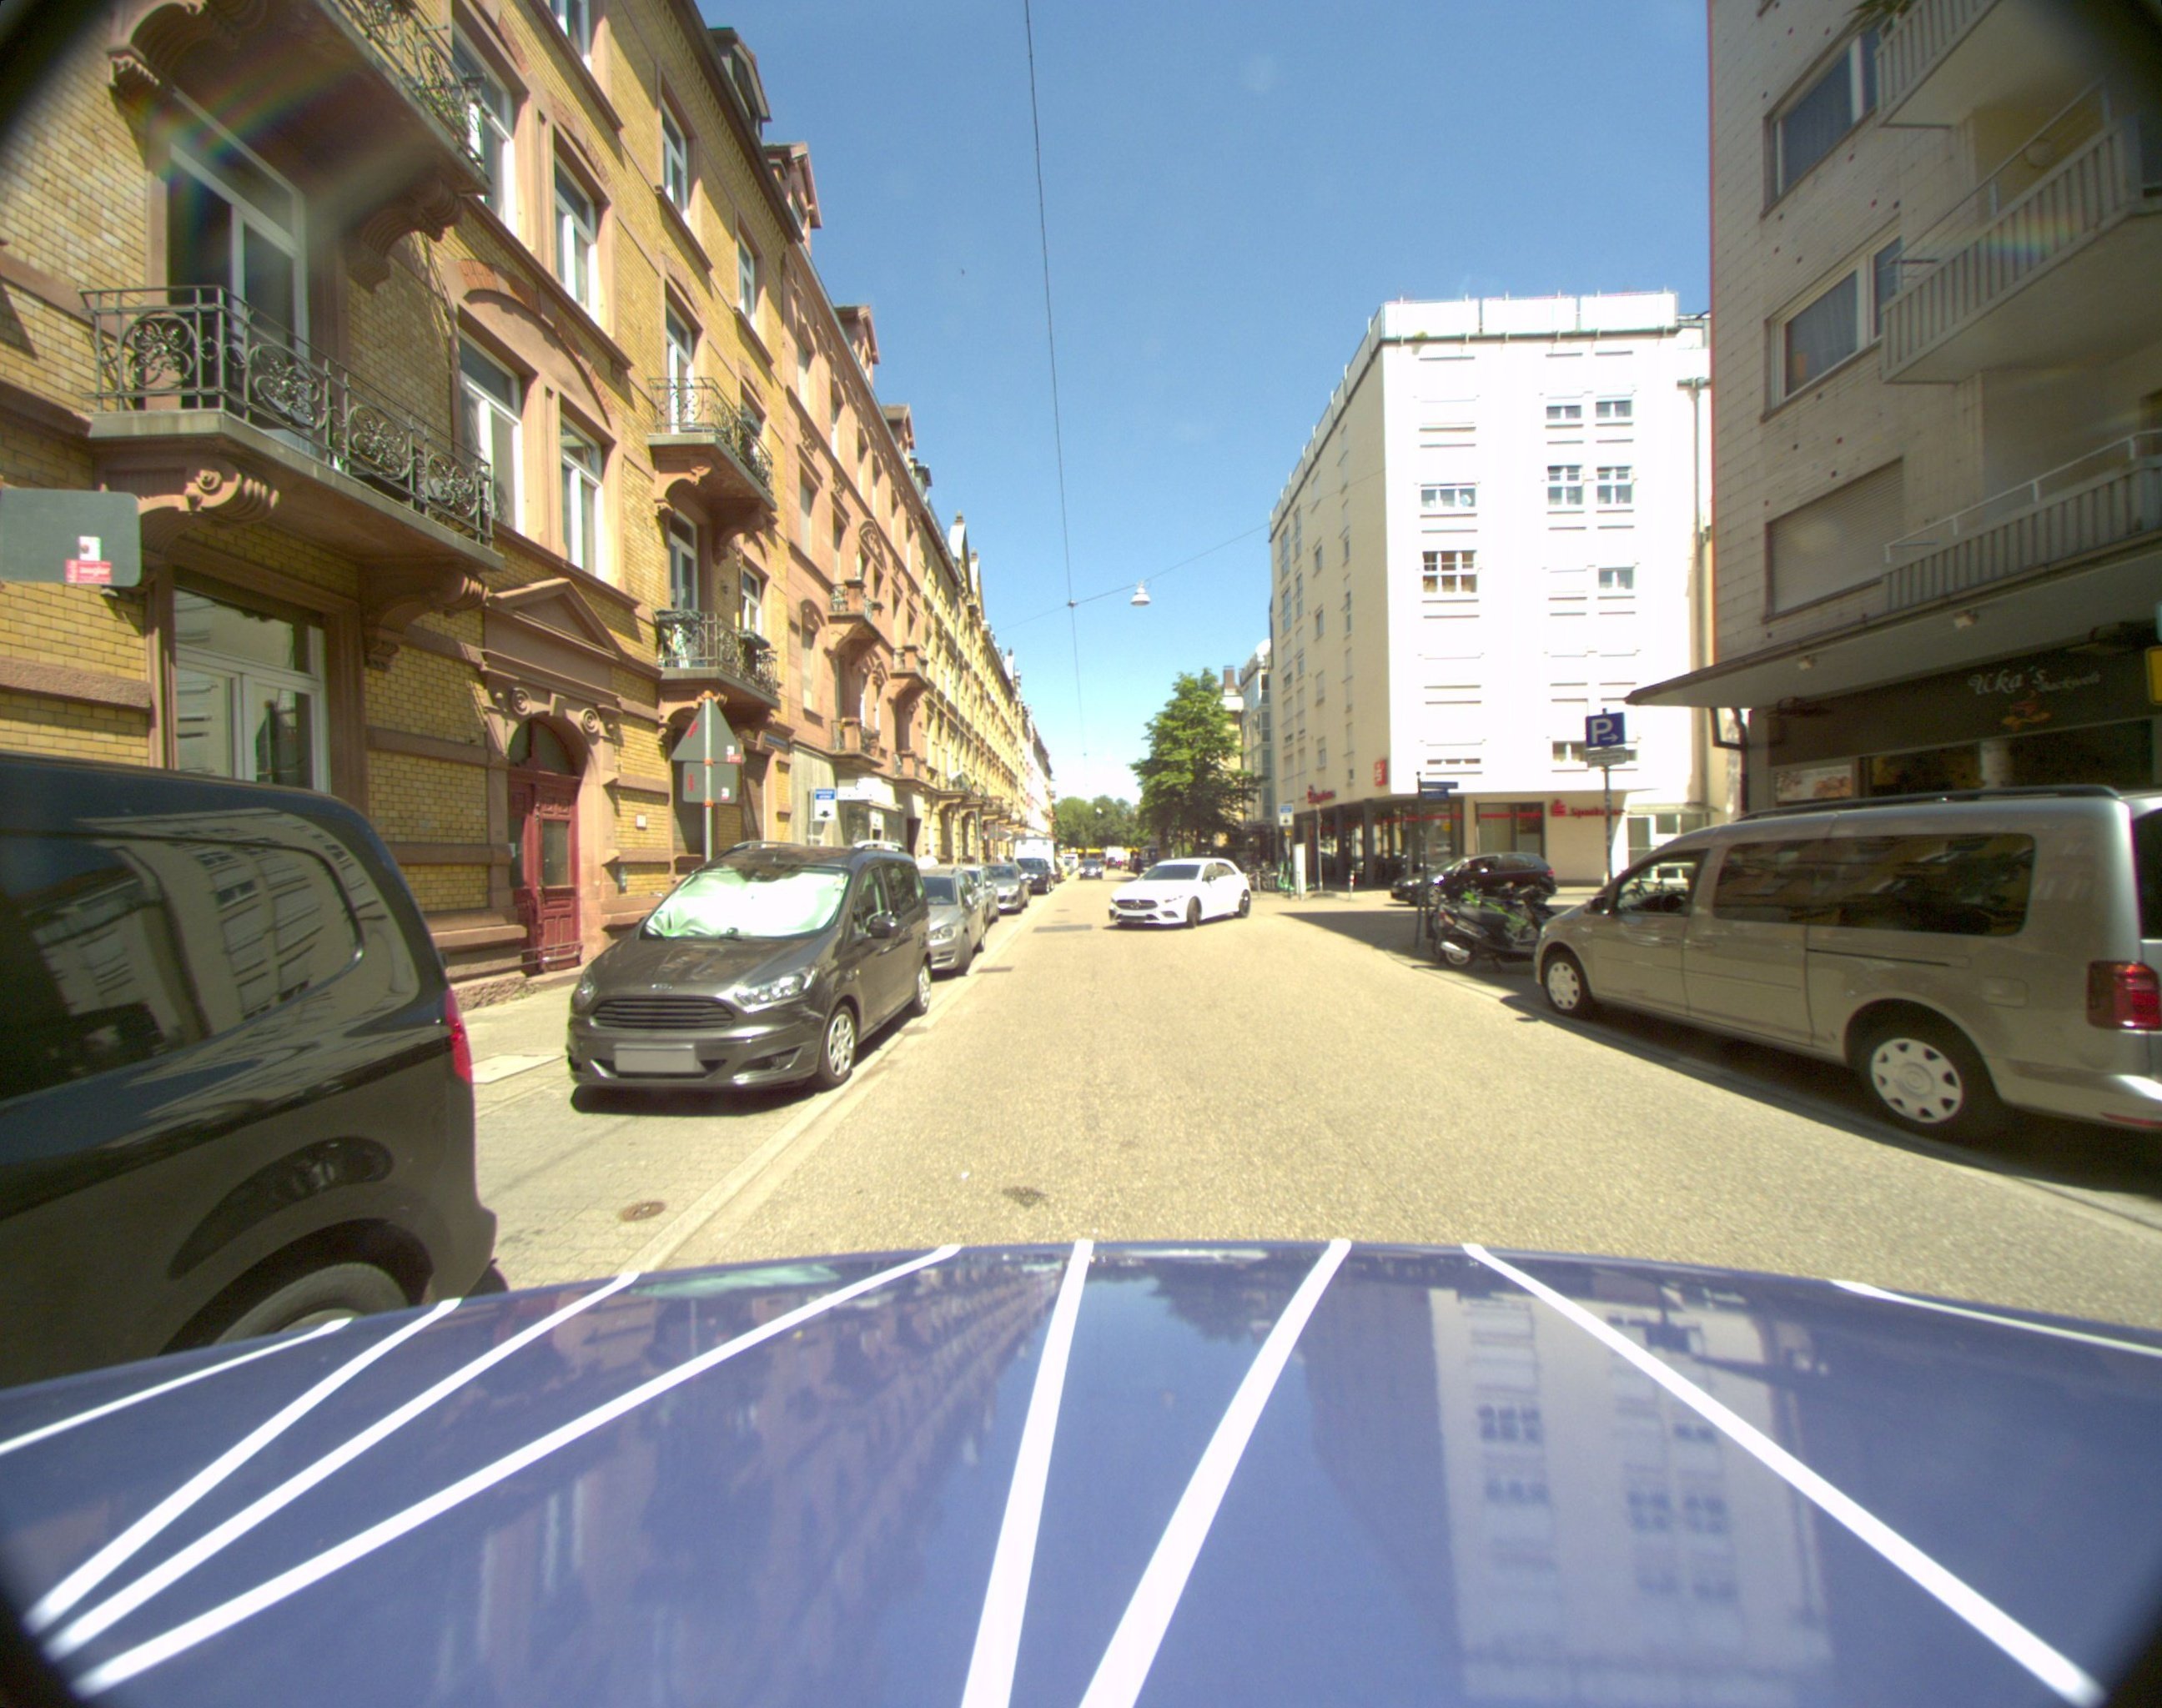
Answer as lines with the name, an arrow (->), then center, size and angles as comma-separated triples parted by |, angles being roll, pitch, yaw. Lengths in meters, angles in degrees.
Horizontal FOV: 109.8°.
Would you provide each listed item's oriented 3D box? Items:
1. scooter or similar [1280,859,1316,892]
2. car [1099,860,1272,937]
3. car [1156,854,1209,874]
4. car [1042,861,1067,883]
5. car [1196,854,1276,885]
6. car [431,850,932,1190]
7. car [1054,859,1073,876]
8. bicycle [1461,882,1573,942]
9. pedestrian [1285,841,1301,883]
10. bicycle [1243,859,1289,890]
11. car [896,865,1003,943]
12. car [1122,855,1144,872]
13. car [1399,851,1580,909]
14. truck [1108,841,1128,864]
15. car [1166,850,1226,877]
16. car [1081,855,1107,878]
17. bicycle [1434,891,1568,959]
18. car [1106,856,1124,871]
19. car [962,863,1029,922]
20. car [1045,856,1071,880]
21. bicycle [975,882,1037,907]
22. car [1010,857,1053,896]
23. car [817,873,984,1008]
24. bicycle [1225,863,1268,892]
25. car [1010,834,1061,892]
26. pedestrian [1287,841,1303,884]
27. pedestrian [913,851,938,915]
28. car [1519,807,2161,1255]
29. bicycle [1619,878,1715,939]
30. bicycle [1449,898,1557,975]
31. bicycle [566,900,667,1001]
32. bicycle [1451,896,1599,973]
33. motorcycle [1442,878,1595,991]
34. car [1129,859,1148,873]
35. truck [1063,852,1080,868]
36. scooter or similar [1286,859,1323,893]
scooter or similar -> 7.801, 0.781, 27.327 | 1.192, 1.160, 0.289 | -1, 0, -1
car -> 2.453, 0.887, 16.938 | 1.810, 1.417, 4.250 | -1, 0, 40
car -> 7.766, 0.754, 58.447 | 3.885, 1.487, 1.652 | -1, 0, 0
car -> -1.702, 1.156, 49.119 | 1.533, 1.293, 3.686 | -2, 0, -2
car -> 8.147, 0.807, 40.094 | 3.885, 1.520, 1.652 | -1, 0, 0
car -> -2.479, 0.865, 5.968 | 1.706, 1.723, 4.000 | -2, 0, 1
car -> -1.702, 1.261, 72.068 | 1.682, 1.528, 3.999 | -2, 0, -2
bicycle -> 7.708, 0.998, 13.501 | 0.411, 0.951, 1.707 | -3, 1, -32
pedestrian -> 10.807, 0.428, 38.759 | 0.495, 2.113, 0.608 | -2, 0, -19
bicycle -> 7.095, 0.785, 29.144 | 1.608, 1.084, 0.371 | -3, 0, 6
car -> -2.908, 1.056, 17.623 | 1.830, 1.452, 3.999 | -2, 0, -2
car -> 5.313, 0.953, 78.297 | 1.998, 1.505, 4.000 | -3, 0, 1
car -> 10.926, 0.672, 20.548 | 3.887, 1.417, 1.816 | -1, 0, 5
truck -> 5.586, -0.215, 115.596 | 2.763, 3.270, 4.957 | -2, 0, 1
car -> 7.943, 0.641, 52.813 | 3.885, 1.737, 1.652 | -1, 0, 0
car -> 0.967, 0.894, 55.835 | 1.780, 1.460, 4.000 | -3, 0, 1
bicycle -> 6.381, 1.055, 11.613 | 1.706, 0.951, 0.411 | -2, 1, 43
car -> 4.137, 1.104, 92.935 | 1.998, 1.674, 4.000 | -3, 0, 1
car -> -2.385, 1.042, 22.042 | 1.602, 1.454, 3.689 | -2, 0, -2
car -> -1.644, 0.971, 54.243 | 1.682, 1.528, 3.999 | -2, 0, -2
bicycle -> -2.522, 1.369, 25.565 | 1.965, 0.772, 0.568 | -1, 0, 5
car -> -2.093, 0.920, 32.923 | 1.682, 1.528, 3.999 | -2, 0, -2
car -> -2.426, 1.089, 11.129 | 1.766, 1.441, 3.903 | -2, 0, -5
bicycle -> 6.706, 0.946, 30.793 | 1.608, 1.084, 0.371 | -3, 0, 6
car -> -2.210, 0.414, 38.586 | 2.067, 2.687, 5.039 | -3, 0, 1
pedestrian -> 10.690, 0.435, 37.910 | 0.608, 2.113, 0.496 | -1, 1, 36
pedestrian -> -4.731, 0.882, 23.081 | 0.635, 1.903, 0.370 | -1, 0, 1
car -> 5.268, 0.684, 5.122 | 1.793, 1.818, 4.900 | -3, 0, 1
bicycle -> 10.427, 0.945, 13.590 | 0.410, 0.951, 1.711 | -2, 0, 2
bicycle -> 5.706, 1.092, 10.302 | 1.210, 0.951, 0.338 | -2, 1, 43
bicycle -> -5.982, 1.203, 9.863 | 0.366, 1.101, 1.428 | -1, 1, 1
bicycle -> 6.112, 1.076, 10.530 | 1.706, 0.951, 0.411 | -2, 1, 43
motorcycle -> 5.317, 0.960, 9.292 | 1.552, 1.276, 0.394 | -2, 2, 33
car -> 6.887, 1.454, 91.147 | 1.998, 1.505, 4.000 | -3, 0, 1
truck -> -1.197, 0.746, 99.621 | 1.998, 2.002, 4.902 | -1, 0, 1
scooter or similar -> 7.941, 0.777, 27.018 | 1.192, 1.160, 0.289 | -1, 0, -1
